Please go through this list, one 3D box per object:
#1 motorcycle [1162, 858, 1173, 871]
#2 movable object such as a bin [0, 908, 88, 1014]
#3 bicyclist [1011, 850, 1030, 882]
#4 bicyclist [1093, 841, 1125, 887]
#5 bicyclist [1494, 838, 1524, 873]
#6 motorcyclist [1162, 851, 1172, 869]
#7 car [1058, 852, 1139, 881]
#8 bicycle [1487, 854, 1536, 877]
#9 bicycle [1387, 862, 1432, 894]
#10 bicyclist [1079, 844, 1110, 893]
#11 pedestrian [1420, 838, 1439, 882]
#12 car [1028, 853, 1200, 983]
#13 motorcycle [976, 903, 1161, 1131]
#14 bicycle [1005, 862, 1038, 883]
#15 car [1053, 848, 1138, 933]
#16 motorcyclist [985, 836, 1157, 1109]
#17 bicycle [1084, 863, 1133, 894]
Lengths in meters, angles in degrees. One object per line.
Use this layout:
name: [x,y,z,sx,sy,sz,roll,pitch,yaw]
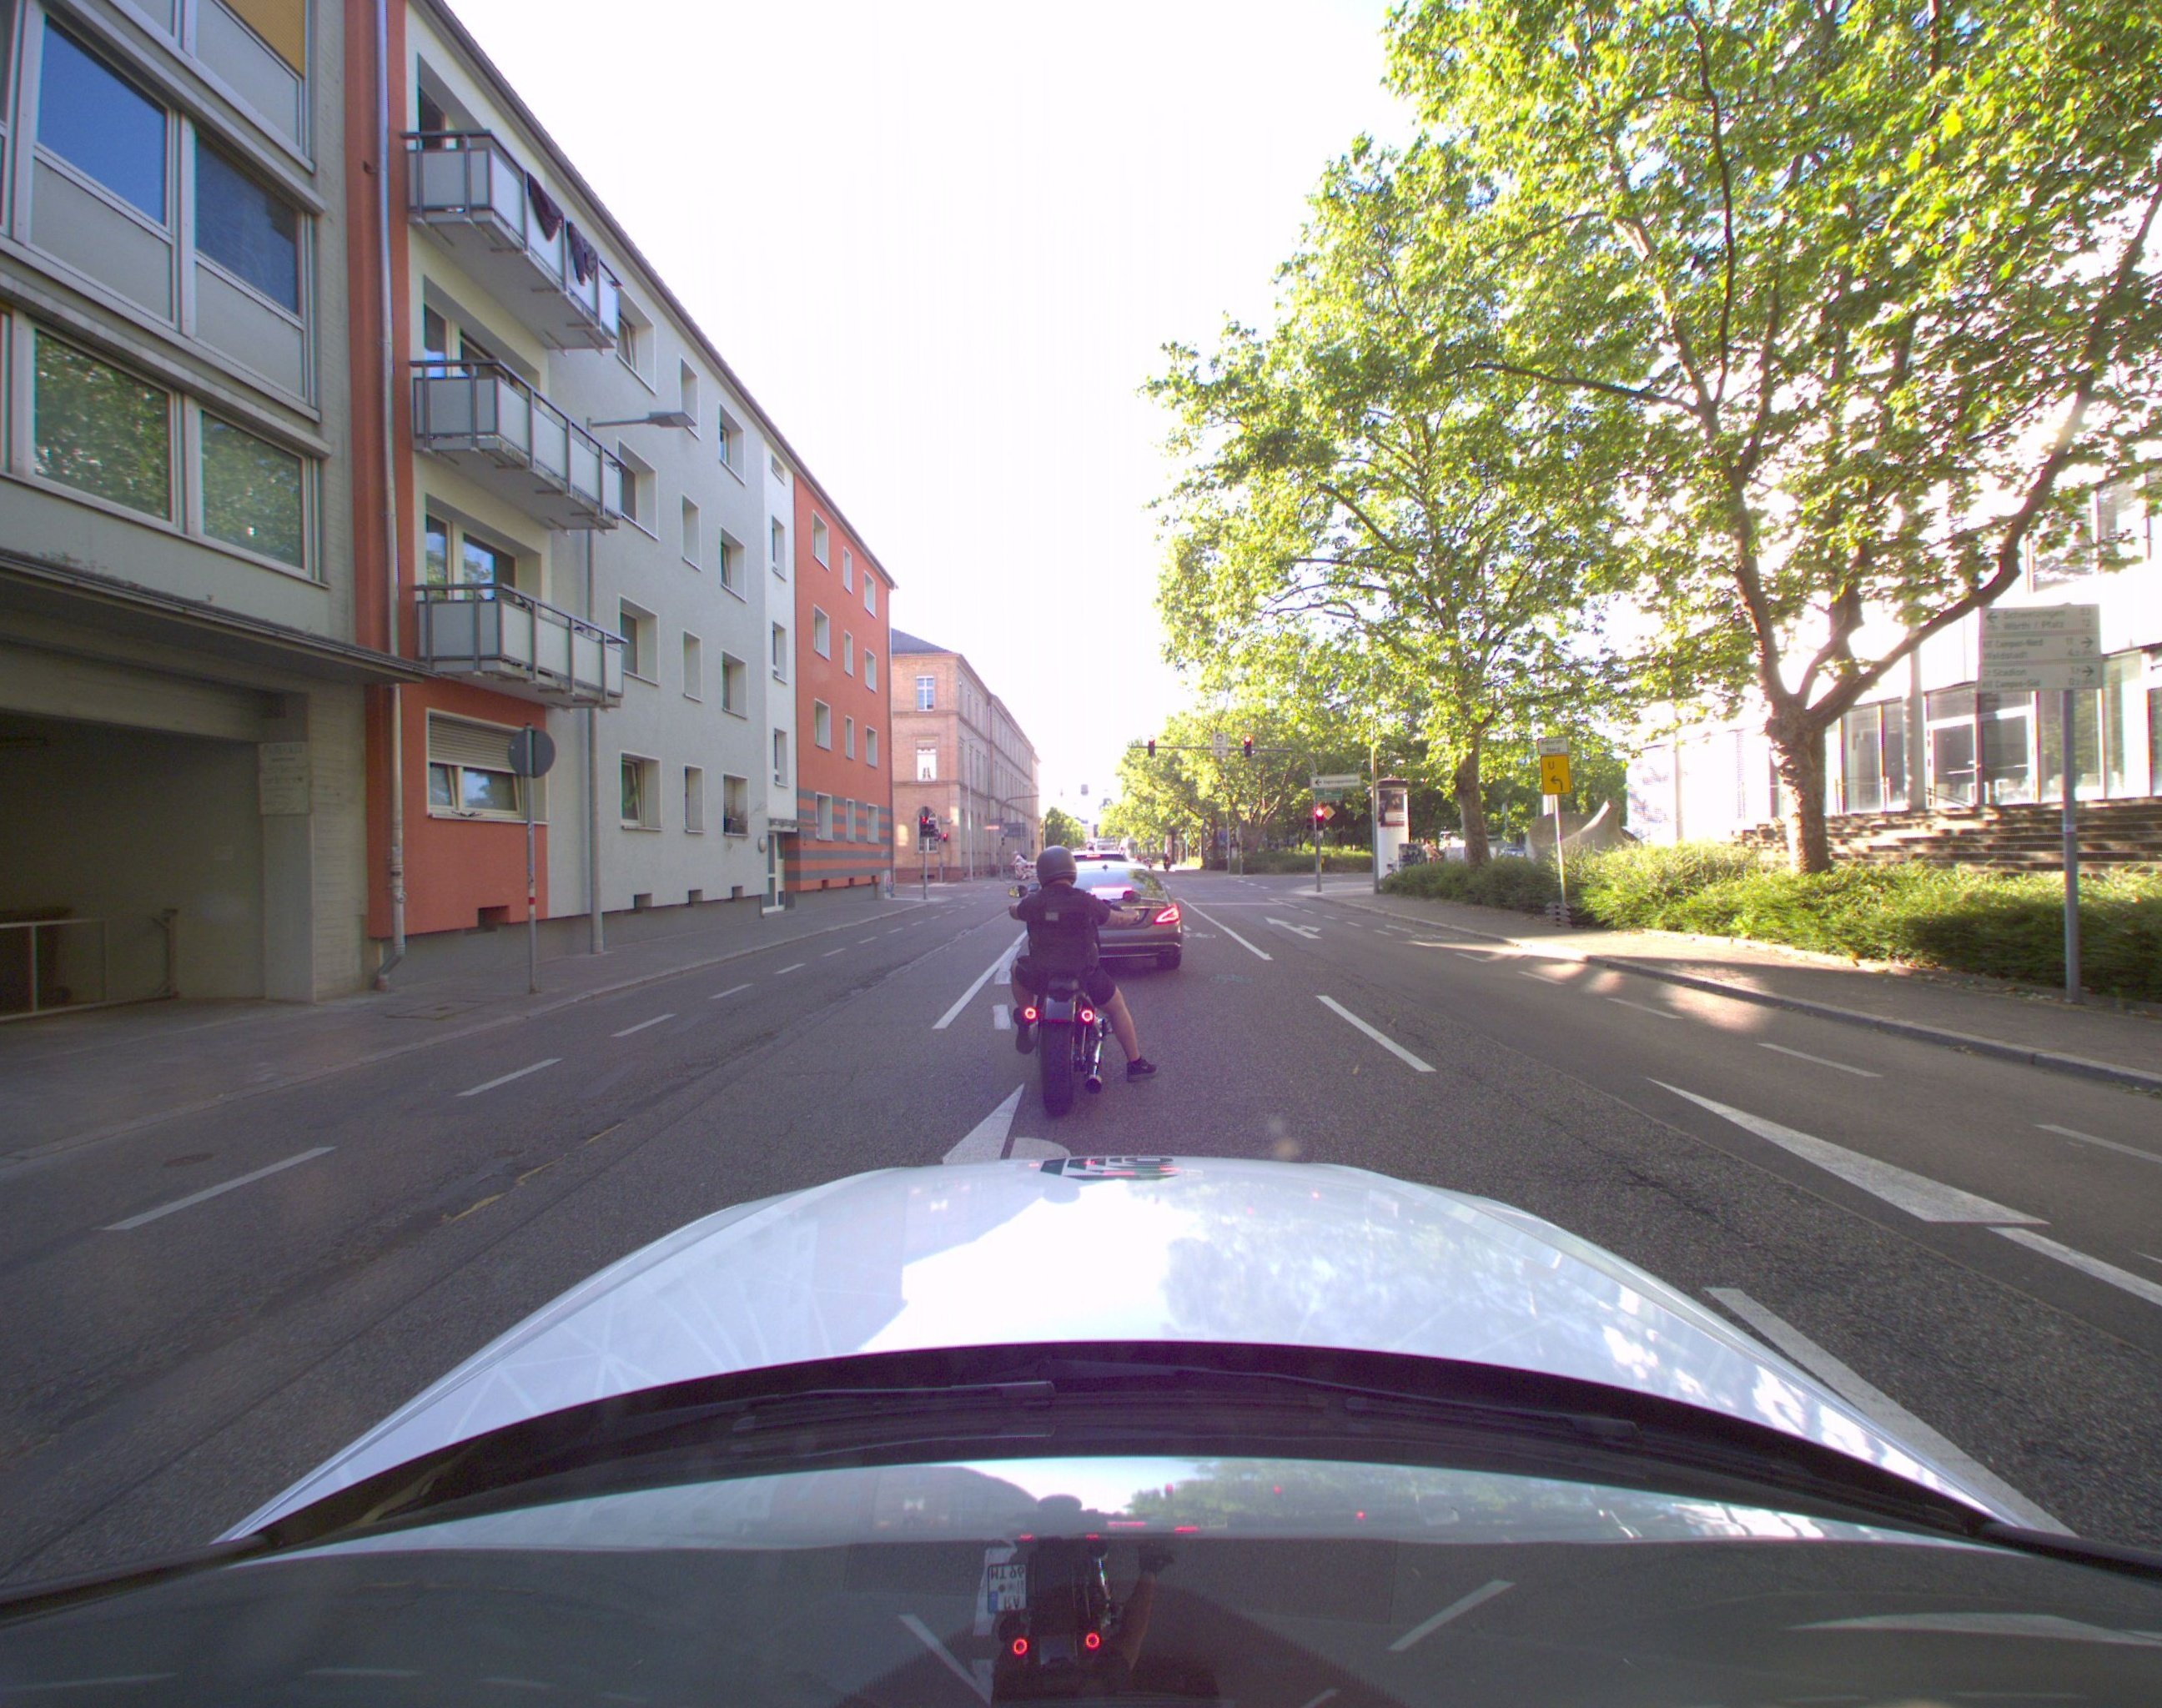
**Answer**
motorcycle: [8.201,0.977,77.242,0.835,1.245,2.284,-1,0,2]
movable object such as a bin: [-11.318,1.118,8.679,0.593,1.041,0.703,0,-1,1]
bicyclist: [-3.387,0.645,45.495,0.973,1.743,0.609,-1,0,-3]
bicyclist: [1.057,0.391,30.996,0.708,1.695,1.037,-2,-1,-33]
bicyclist: [20.606,0.062,39.226,1.034,1.614,0.768,-1,3,3]
motorcyclist: [8.178,0.557,77.266,0.835,1.703,1.181,-1,0,2]
car: [0.910,0.656,43.115,3.909,1.486,1.849,0,-1,-21]
bicycle: [20.735,0.551,39.242,1.998,0.980,0.768,-1,3,3]
bicycle: [11.026,0.797,27.389,1.346,1.023,0.363,-1,0,2]
bicyclist: [0.486,0.515,29.112,0.707,1.692,0.956,-1,0,-28]
pedestrian: [14.939,0.249,34.902,0.549,1.849,0.594,-1,0,3]
car: [0.255,0.747,11.716,1.943,1.473,4.355,-1,0,-5]
motorcycle: [-0.029,0.963,5.677,0.986,1.078,2.453,-1,0,2]
bicycle: [-3.313,1.028,45.497,1.829,1.105,0.611,-1,0,-3]
car: [0.320,0.711,17.886,1.606,1.607,4.329,-1,0,1]
motorcyclist: [-0.038,0.704,5.524,0.986,1.597,1.404,-1,0,2]
bicycle: [1.030,0.933,31.021,0.708,1.103,2.141,-2,-1,-33]
